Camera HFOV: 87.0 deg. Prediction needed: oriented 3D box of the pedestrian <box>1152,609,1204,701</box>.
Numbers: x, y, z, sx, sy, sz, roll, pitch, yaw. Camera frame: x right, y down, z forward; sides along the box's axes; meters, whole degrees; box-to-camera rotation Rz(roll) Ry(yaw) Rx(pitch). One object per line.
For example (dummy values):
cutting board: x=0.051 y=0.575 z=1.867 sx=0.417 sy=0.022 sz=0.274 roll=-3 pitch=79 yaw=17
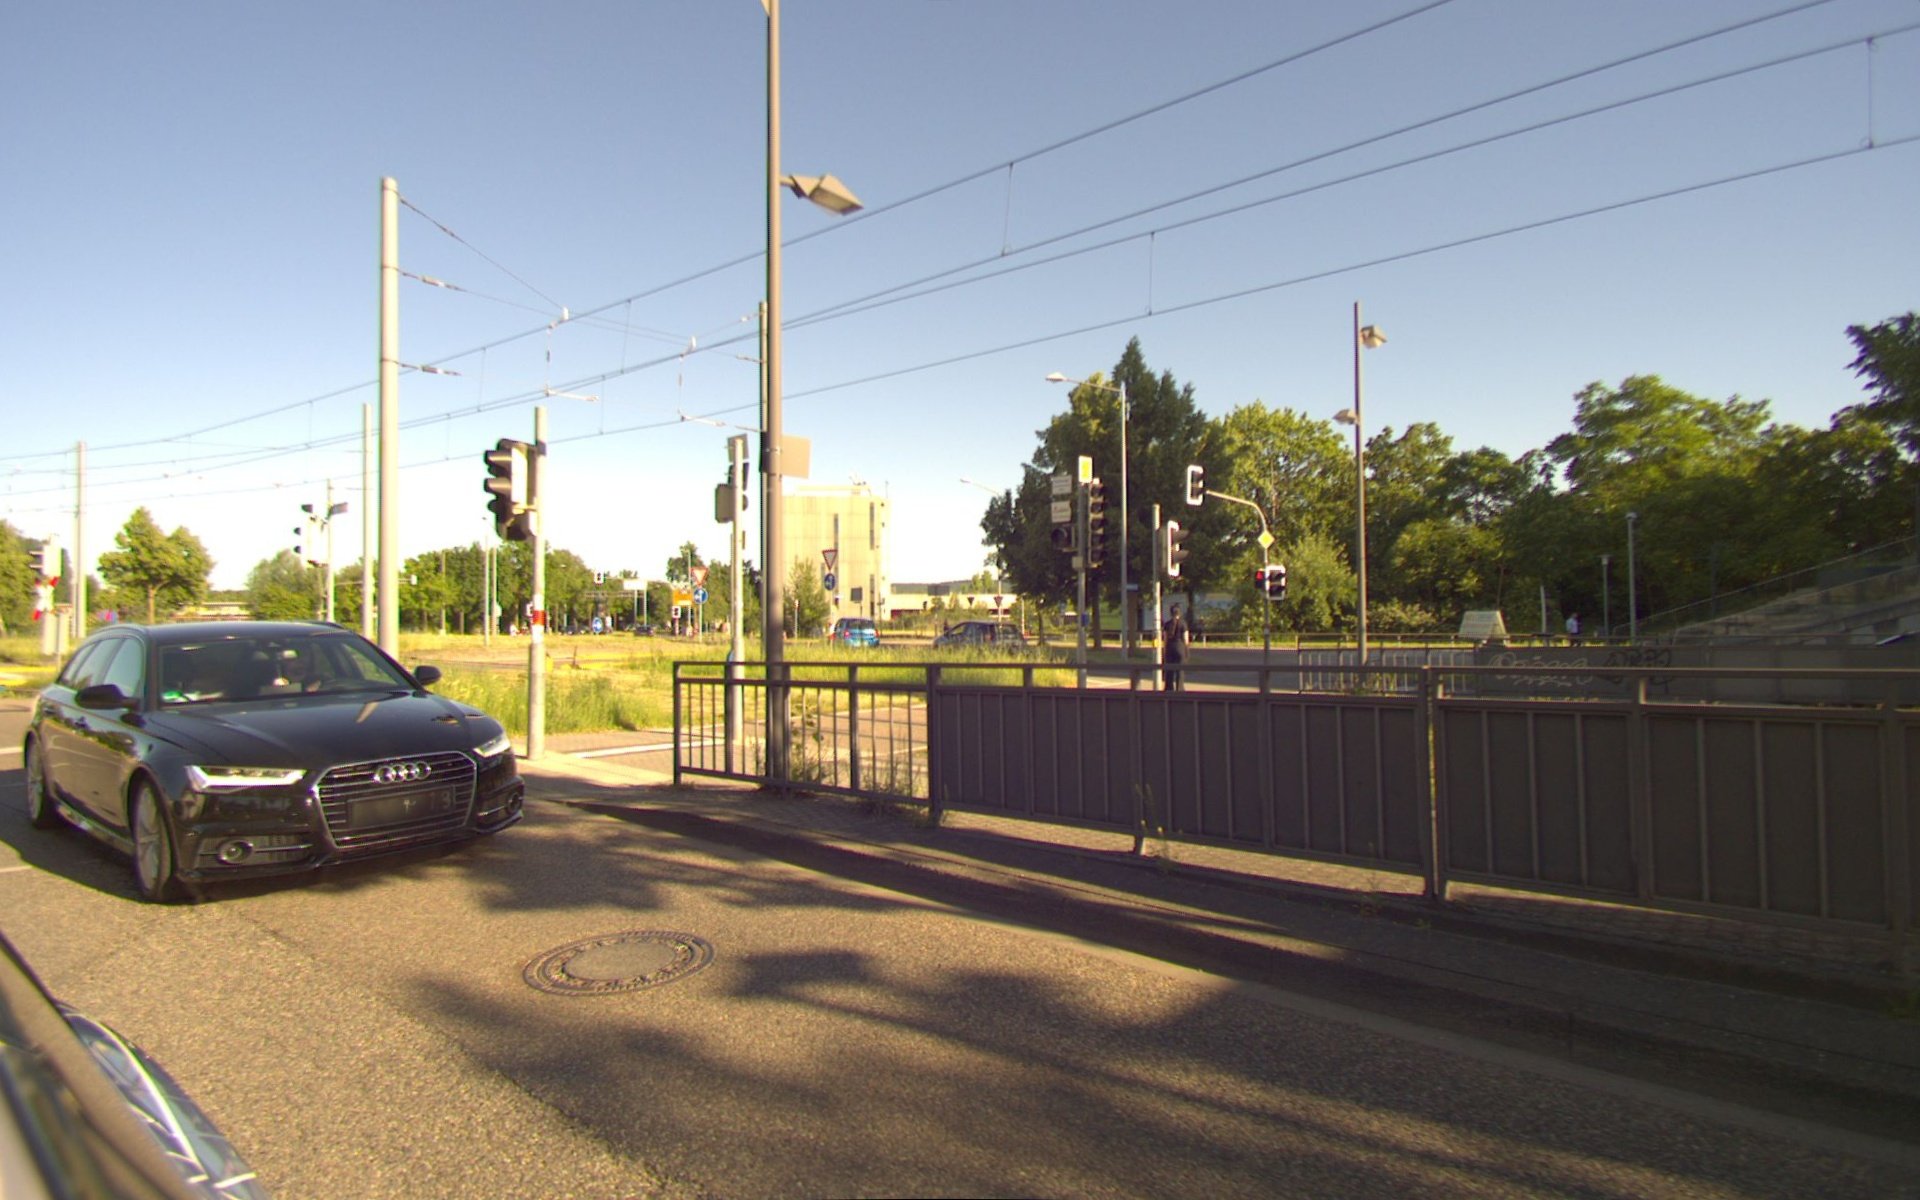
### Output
pedestrian: x=3.865 y=0.957 z=17.970 sx=0.810 sy=1.590 sz=0.413 roll=0 pitch=-1 yaw=39

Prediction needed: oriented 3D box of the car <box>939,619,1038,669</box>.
car: x=0.849 y=1.383 z=32.560 sx=1.636 sy=1.406 sz=3.624 roll=3 pitch=-1 yaw=-26

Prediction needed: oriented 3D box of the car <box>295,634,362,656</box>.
car: x=-47.243 y=3.368 z=75.768 sx=1.791 sy=1.439 sz=3.980 roll=0 pitch=0 yaw=23

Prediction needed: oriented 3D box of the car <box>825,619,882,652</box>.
car: x=-4.570 y=1.467 z=43.073 sx=1.636 sy=1.274 sz=3.633 roll=0 pitch=0 yaw=-19

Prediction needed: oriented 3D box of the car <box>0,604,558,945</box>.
car: x=-4.734 y=0.849 z=6.718 sx=4.594 sy=1.538 sz=1.767 roll=-2 pitch=-1 yaw=38
